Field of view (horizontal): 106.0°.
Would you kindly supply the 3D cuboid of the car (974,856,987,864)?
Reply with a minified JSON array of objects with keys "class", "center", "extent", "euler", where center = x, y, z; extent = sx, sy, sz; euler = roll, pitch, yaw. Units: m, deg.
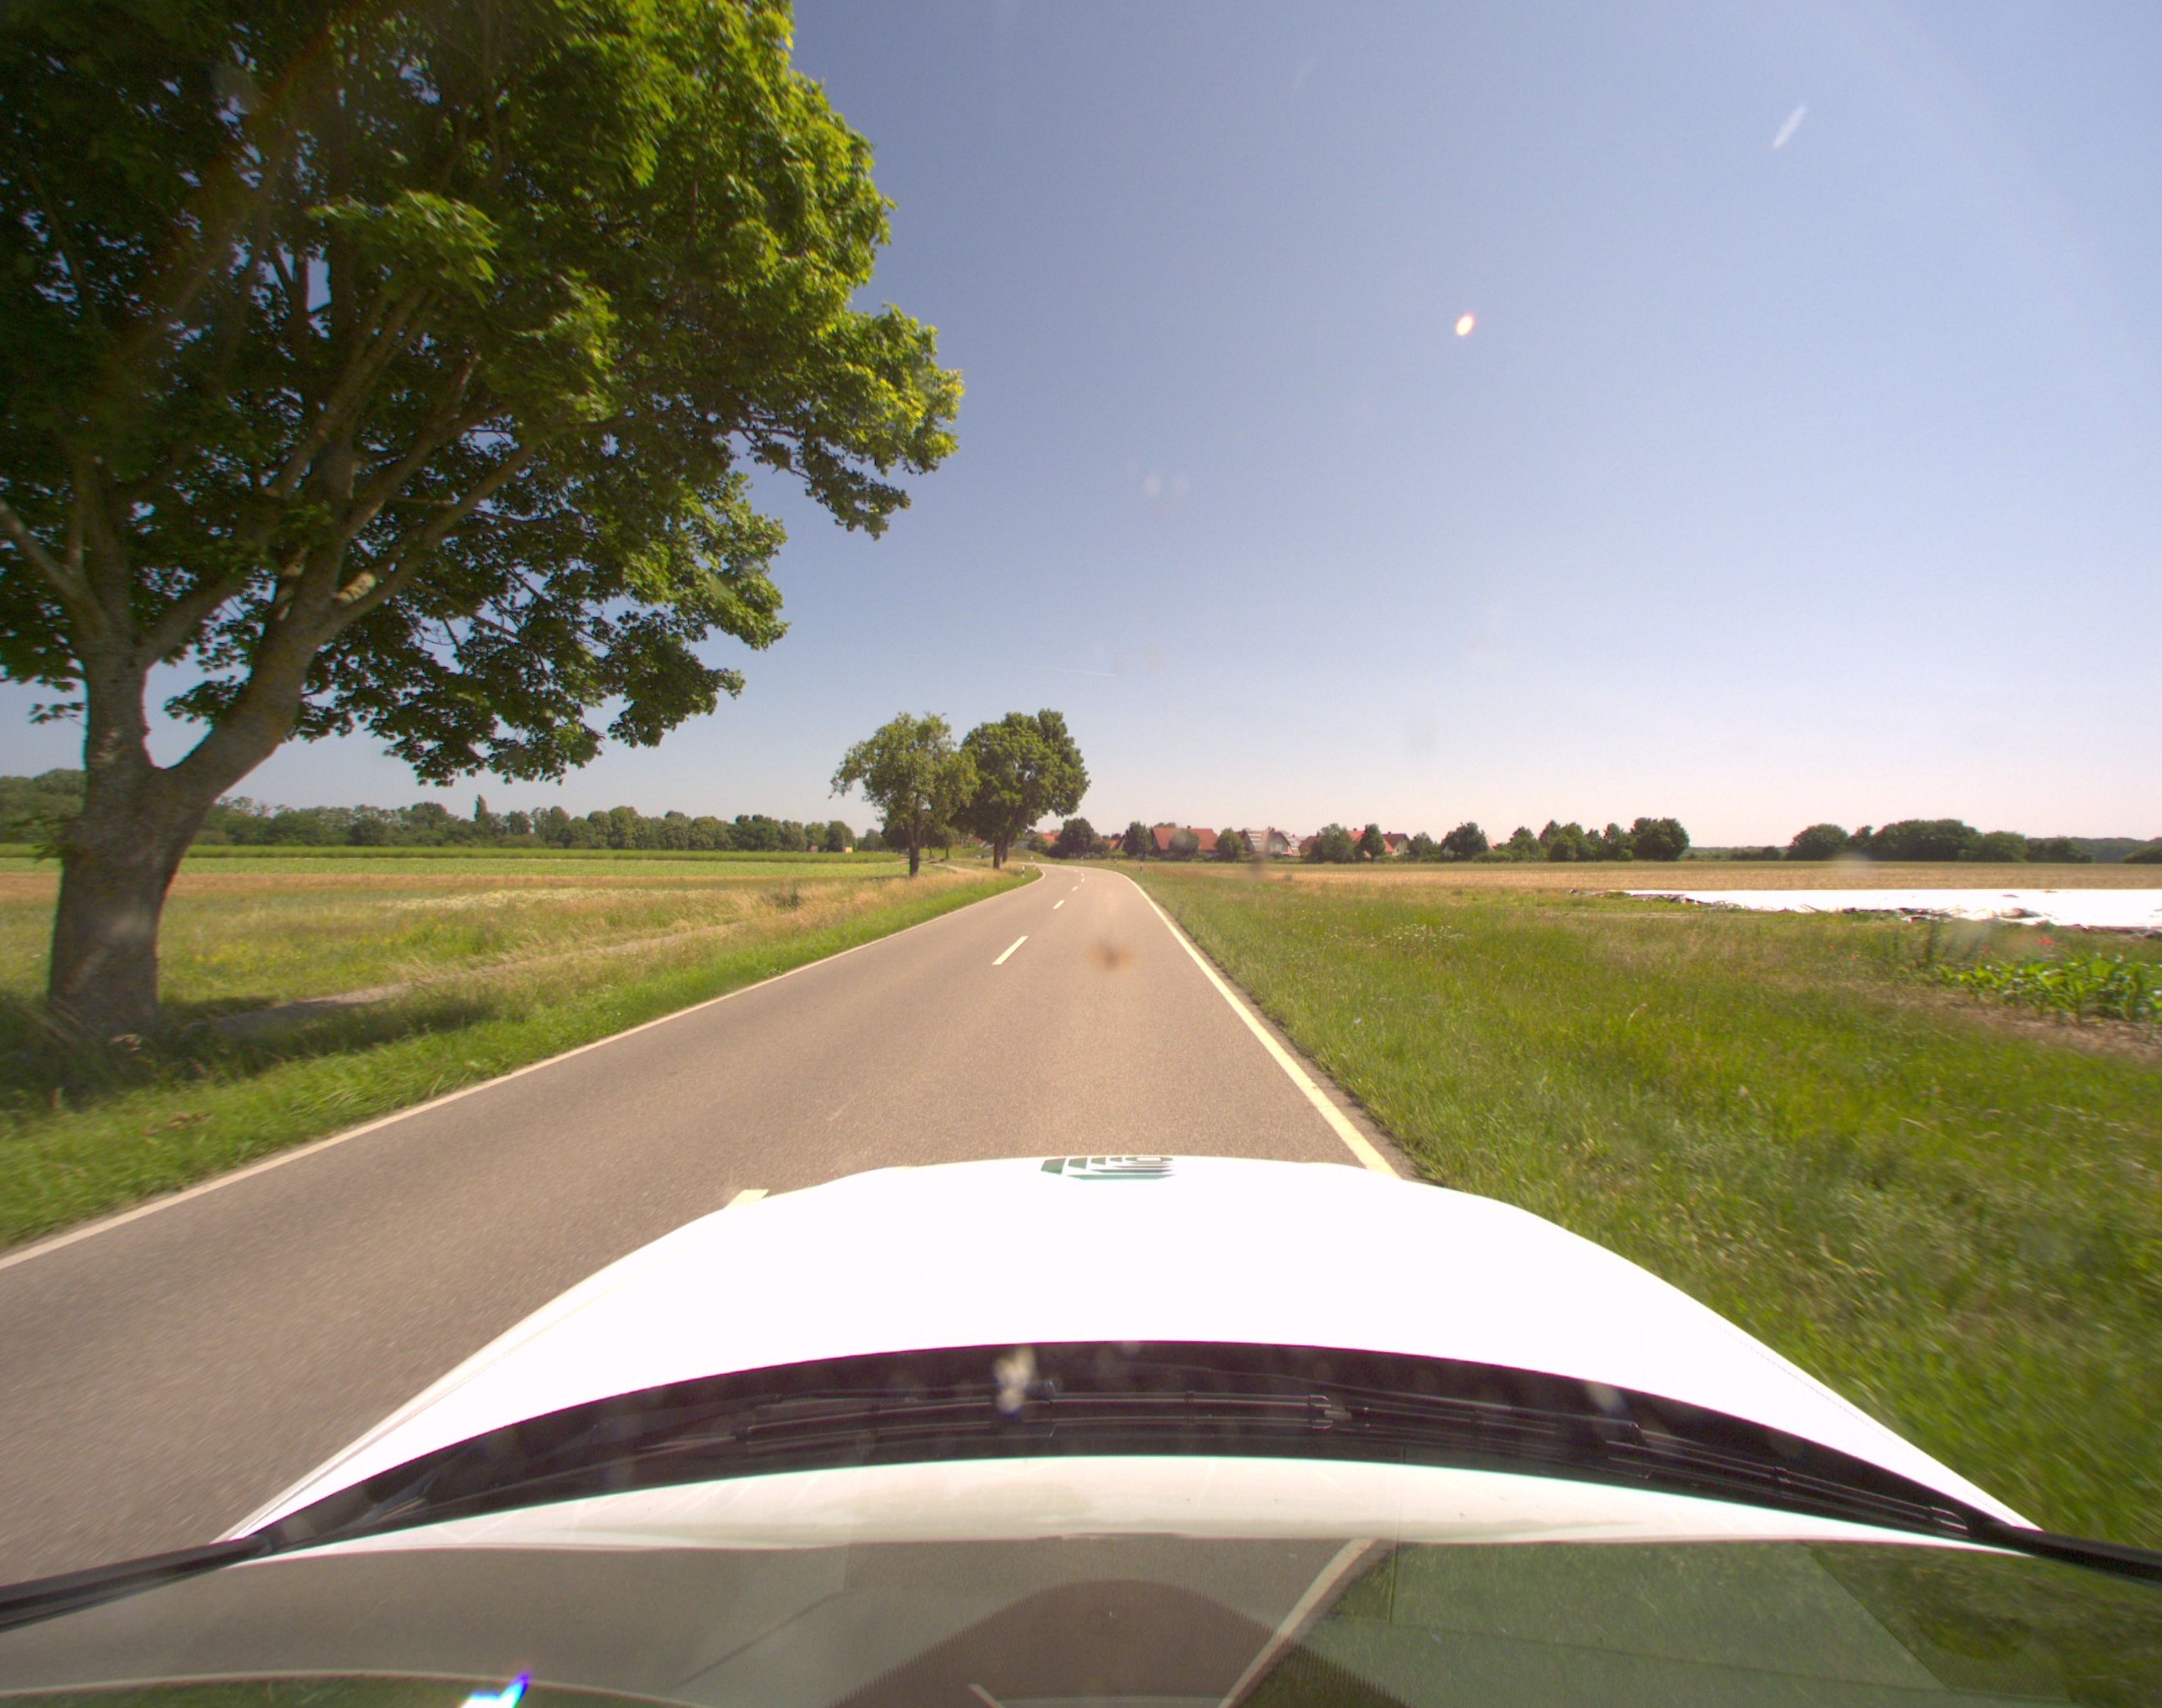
[{"class":"car","center":[-18.451,1.161,149.225],"extent":[1.648,1.429,4.155],"euler":[-3,0,-18]}]
